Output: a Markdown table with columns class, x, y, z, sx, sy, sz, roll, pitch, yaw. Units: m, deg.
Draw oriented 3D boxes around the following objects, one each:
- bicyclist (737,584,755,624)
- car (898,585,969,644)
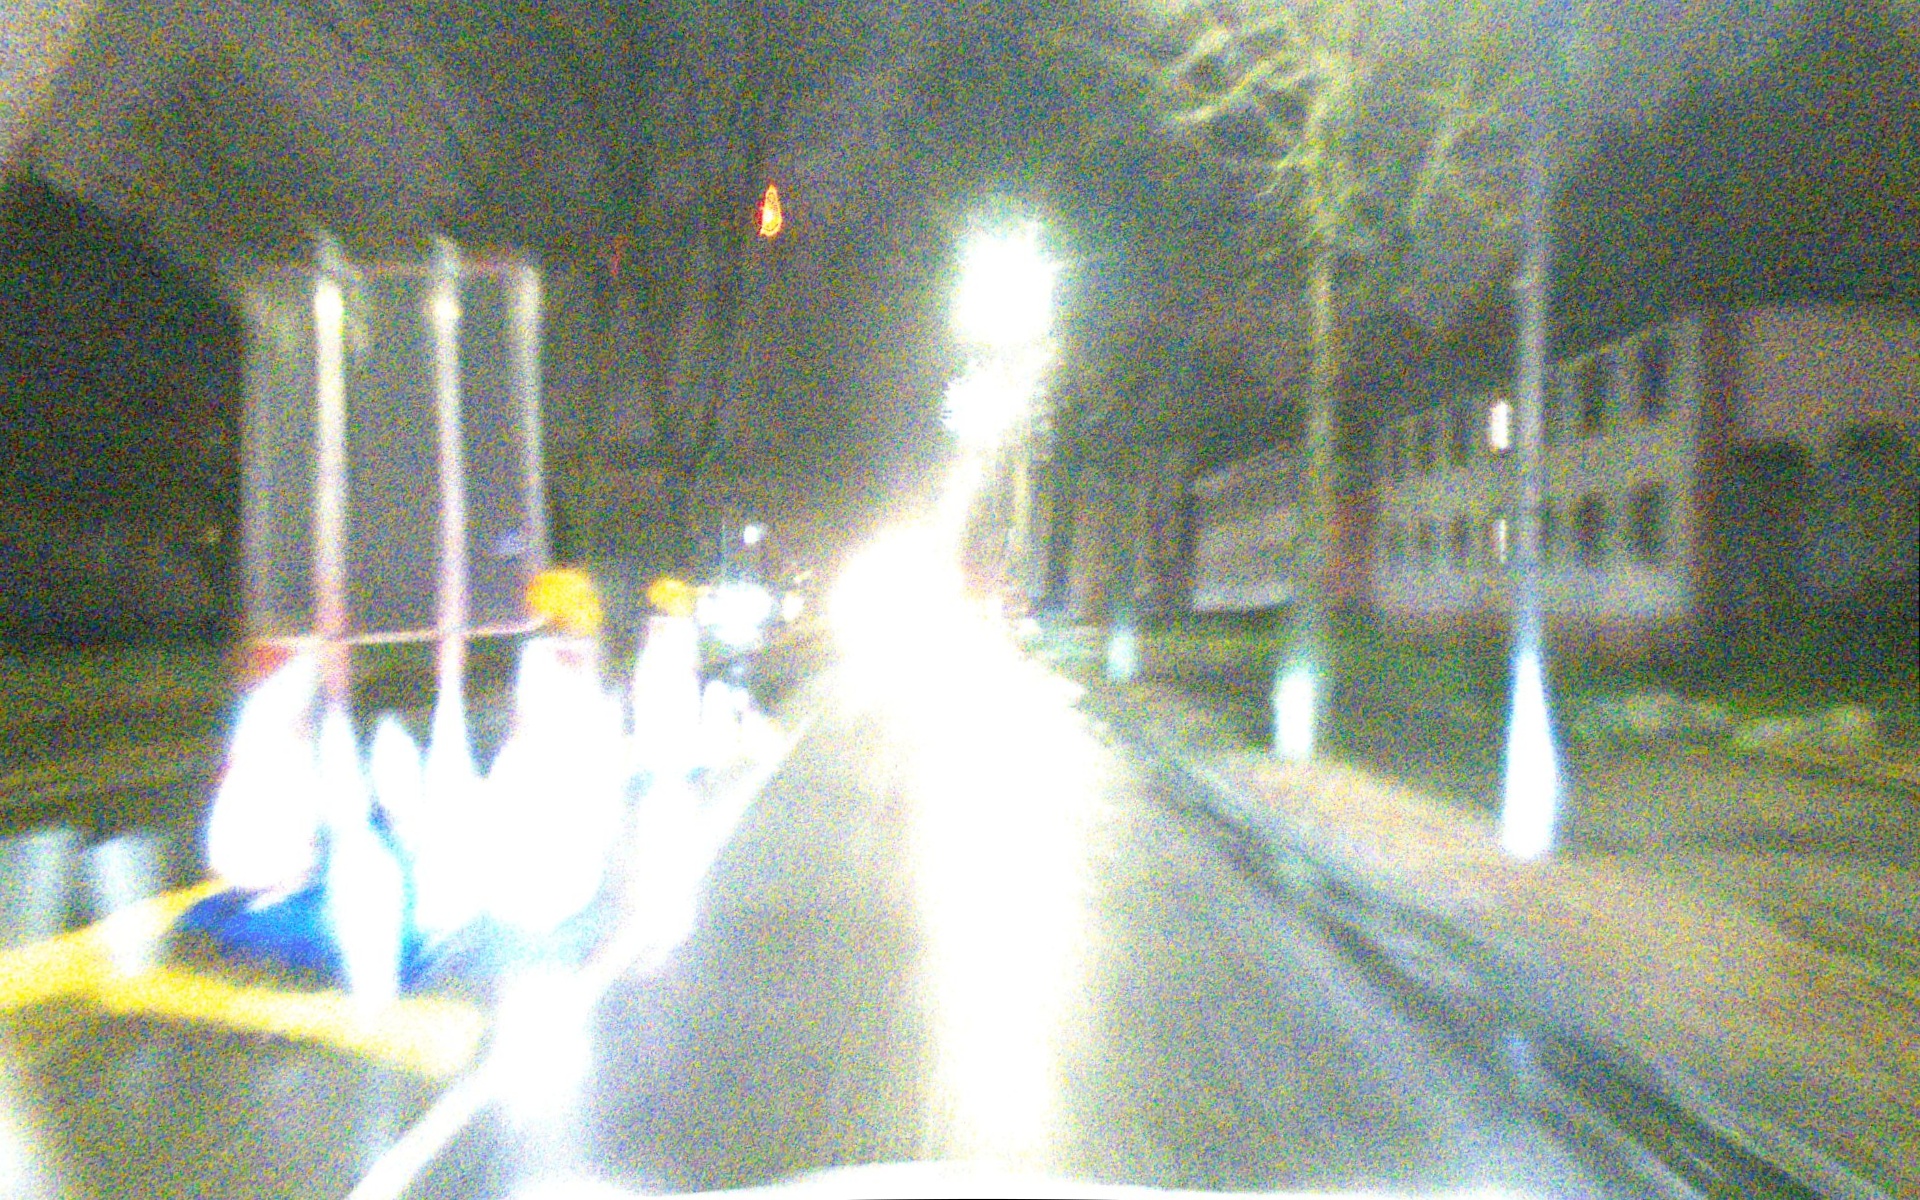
| class | x | y | z | sx | sy | sz | roll | pitch | yaw |
| --- | --- | --- | --- | --- | --- | --- | --- | --- | --- |
| bicyclist | -8.900 | 0.153 | 68.856 | 0.623 | 1.622 | 0.960 | 1 | 1 | -3 |
| car | -0.841 | 0.413 | 50.005 | 1.954 | 1.713 | 3.997 | 0 | 0 | -4 |
